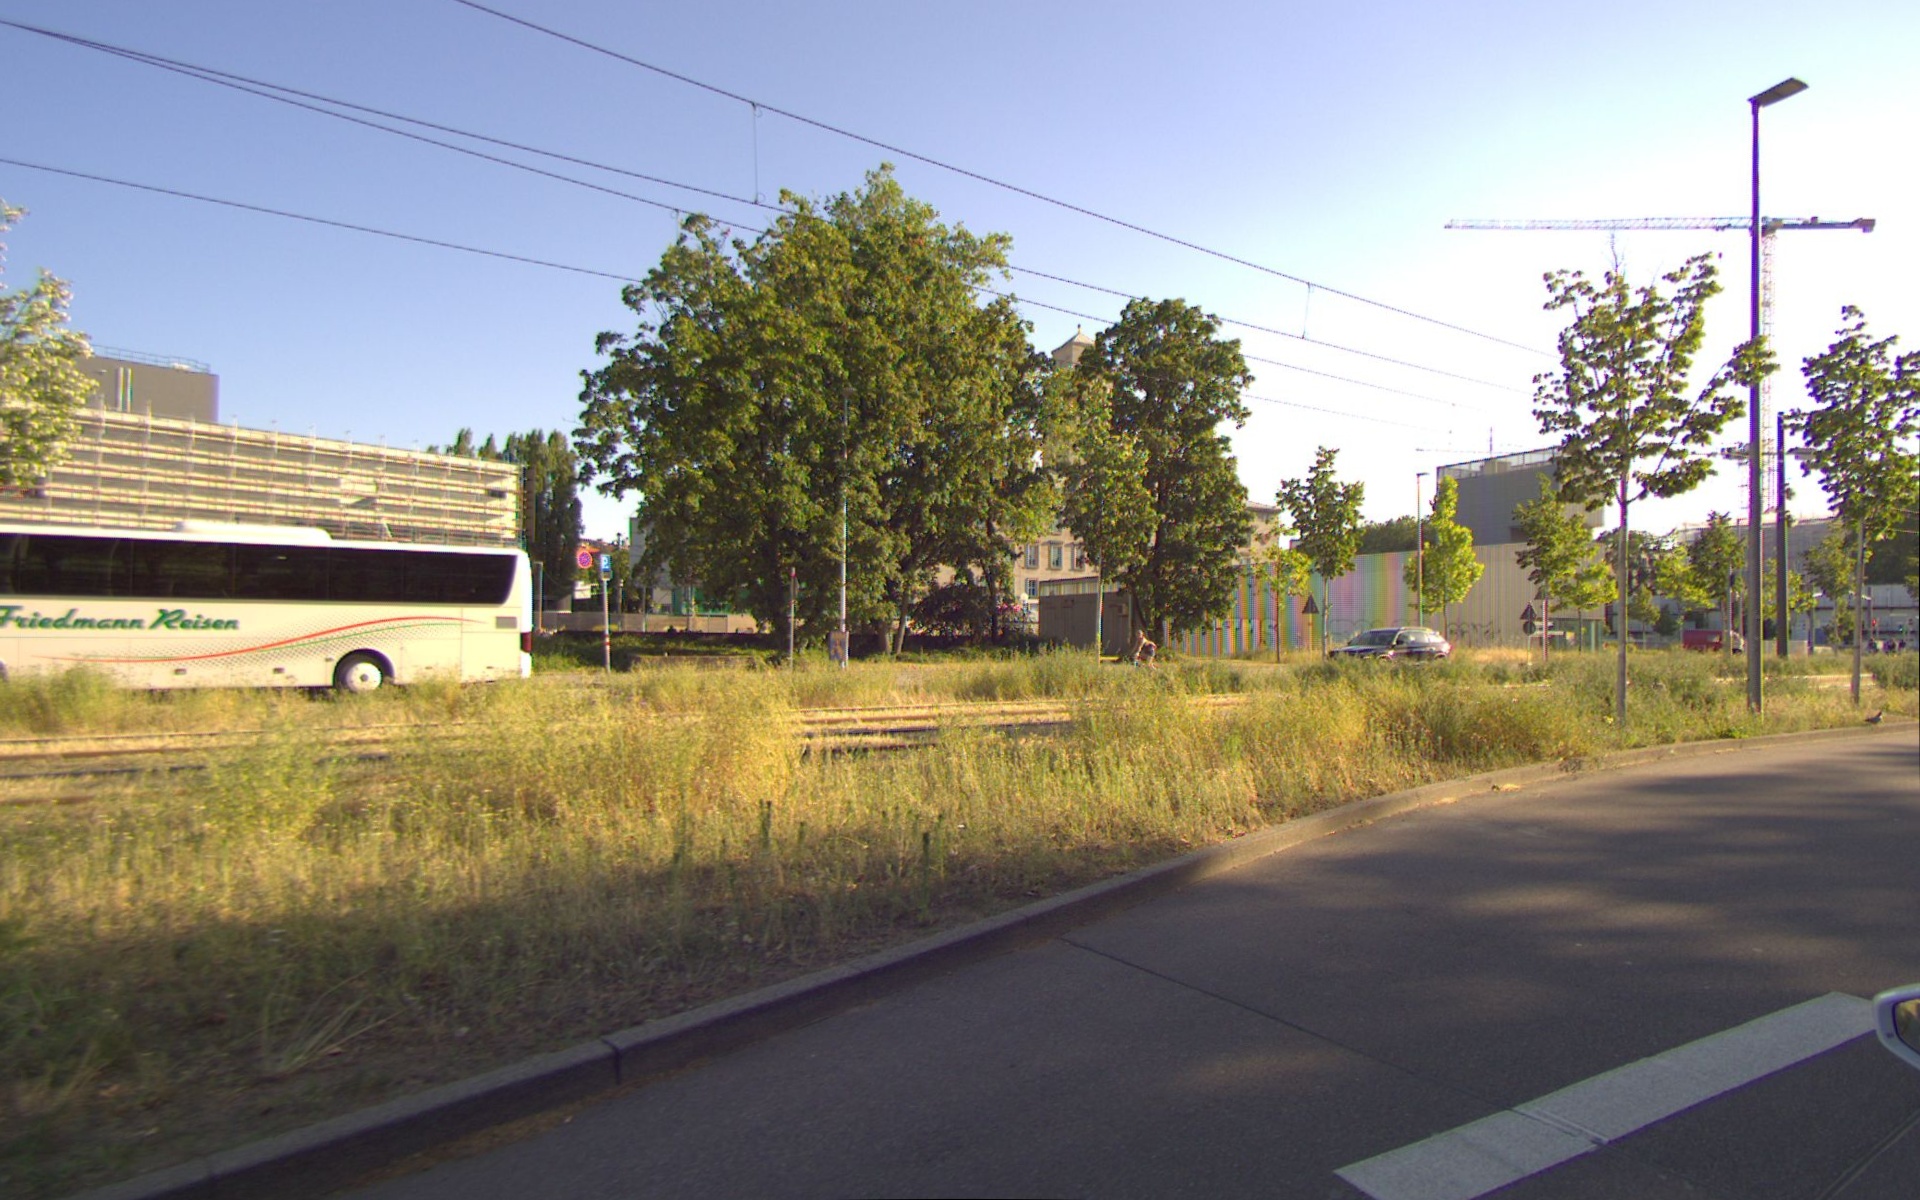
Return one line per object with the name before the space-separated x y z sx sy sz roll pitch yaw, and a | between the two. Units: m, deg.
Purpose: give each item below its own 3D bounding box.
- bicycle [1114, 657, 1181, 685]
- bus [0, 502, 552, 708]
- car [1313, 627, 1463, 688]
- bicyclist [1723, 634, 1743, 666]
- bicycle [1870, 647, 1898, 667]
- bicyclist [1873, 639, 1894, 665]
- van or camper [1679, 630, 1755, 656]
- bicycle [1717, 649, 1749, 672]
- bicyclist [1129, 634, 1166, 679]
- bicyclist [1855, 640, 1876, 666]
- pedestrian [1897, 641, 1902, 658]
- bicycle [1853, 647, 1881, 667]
bicycle | 5.766 2.160 30.856 2.120 0.815 0.684 2 -2 -31
bus | -15.270 0.188 20.534 12.552 3.642 2.785 2 -2 -31
car | 13.413 1.756 31.422 4.756 1.789 1.862 2 -2 -30
bicyclist | 37.864 2.449 49.196 0.659 1.527 0.554 1 -1 -28
bicycle | 52.590 3.258 57.188 1.963 1.119 0.581 1 -1 -28
bicyclist | 52.573 2.941 57.179 1.062 1.461 0.581 1 -1 -28
van or camper | 73.619 4.152 97.780 2.127 2.446 5.641 1 -2 -26
bicycle | 37.849 2.965 49.176 1.875 1.074 0.556 2 -2 -29
bicyclist | 5.757 1.730 30.866 0.861 1.364 0.684 1 -2 -31
bicyclist | 51.997 3.054 57.651 1.062 1.461 0.581 1 -1 -28
pedestrian | 84.816 4.447 90.690 0.270 1.484 0.315 0 -1 40
bicycle | 52.099 3.275 57.708 1.963 1.119 0.581 1 -1 -28
